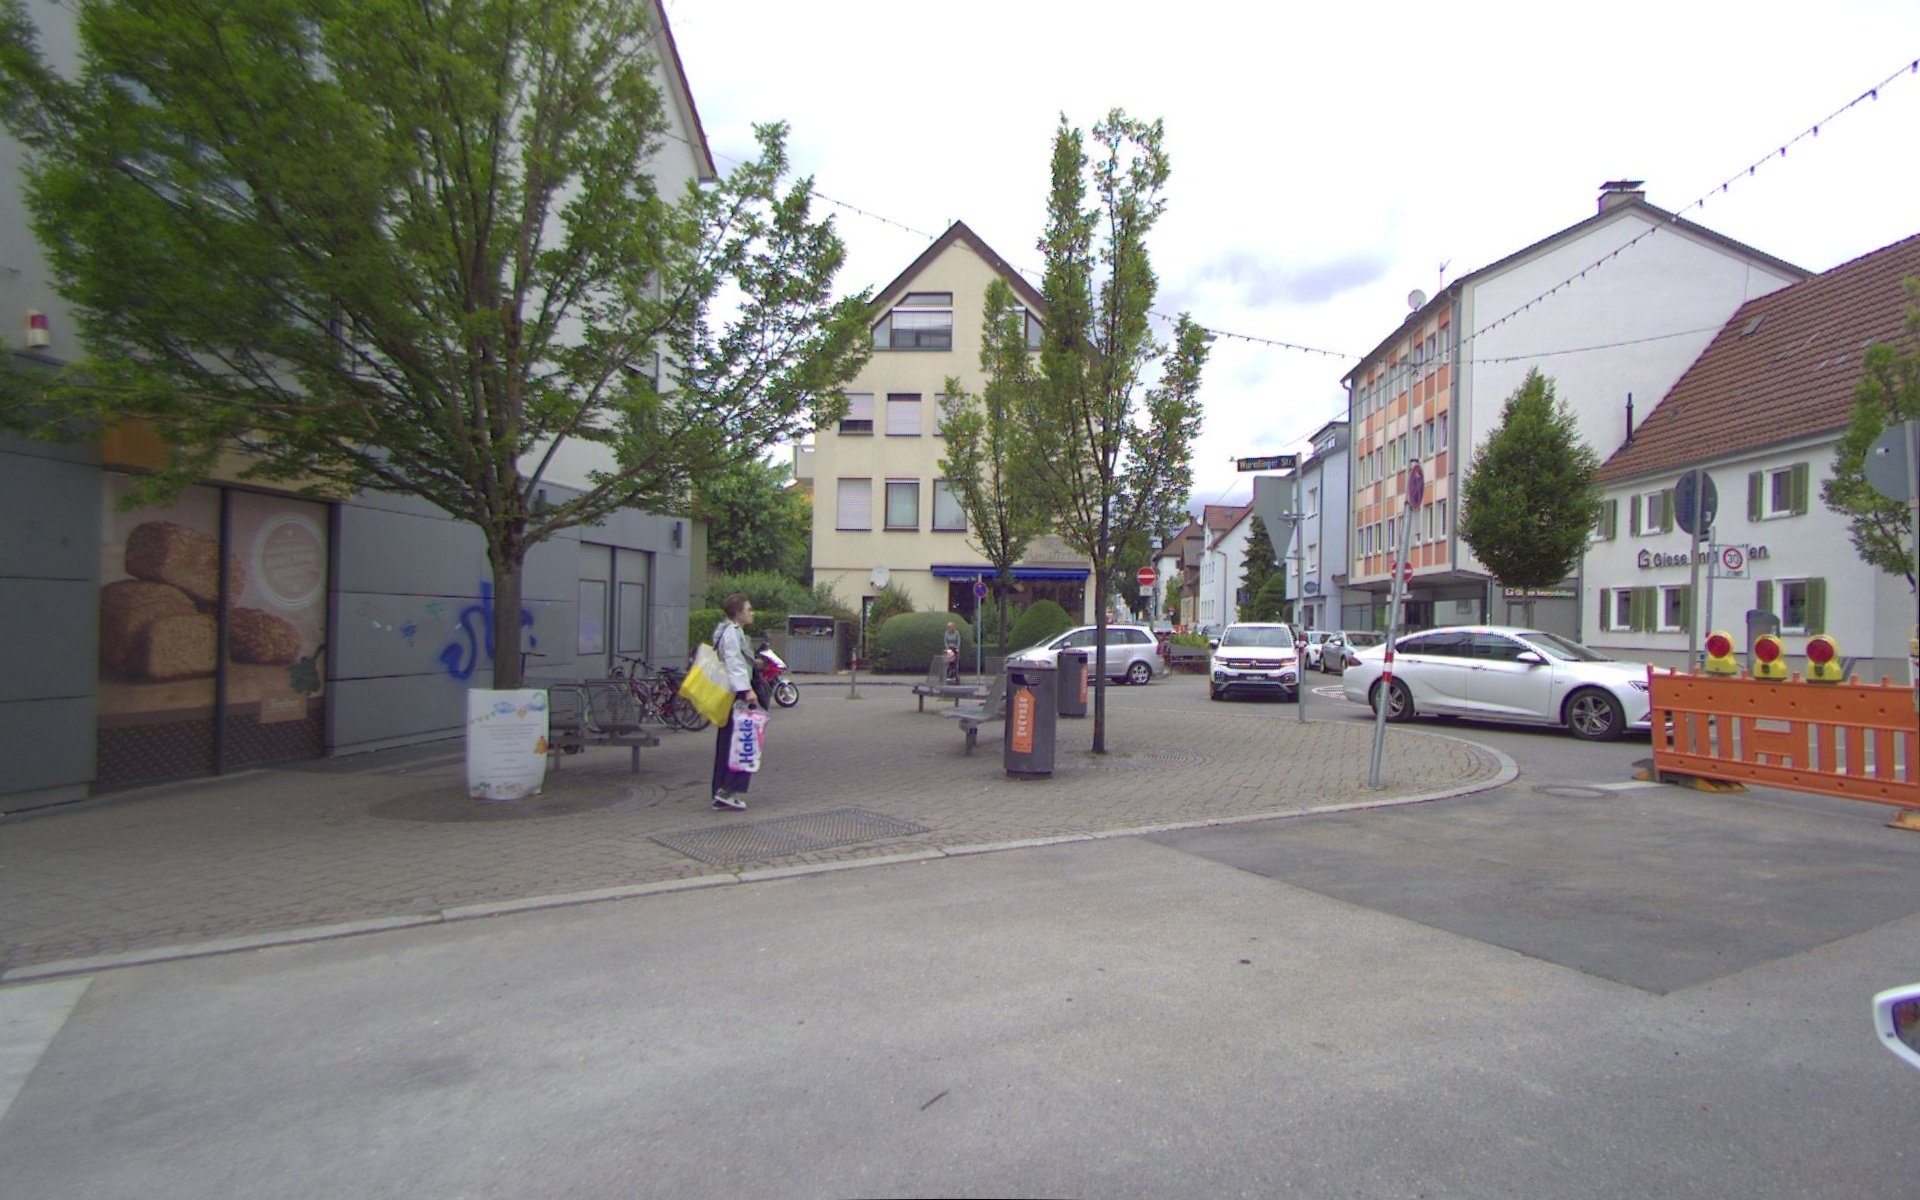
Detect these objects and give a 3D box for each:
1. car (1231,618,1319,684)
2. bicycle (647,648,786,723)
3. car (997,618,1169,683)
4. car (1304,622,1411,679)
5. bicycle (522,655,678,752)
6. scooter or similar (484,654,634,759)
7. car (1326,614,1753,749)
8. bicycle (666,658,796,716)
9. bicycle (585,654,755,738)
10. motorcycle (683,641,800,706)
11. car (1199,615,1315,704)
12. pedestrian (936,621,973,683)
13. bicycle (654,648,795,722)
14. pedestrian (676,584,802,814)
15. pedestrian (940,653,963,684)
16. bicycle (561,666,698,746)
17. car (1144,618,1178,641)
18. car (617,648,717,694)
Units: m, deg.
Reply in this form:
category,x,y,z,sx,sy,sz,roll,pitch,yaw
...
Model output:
category,x,y,z,sx,sy,sz,roll,pitch,yaw
car,9.039,1.364,28.563,1.982,1.578,4.917,1,0,22
bicycle,-3.740,1.305,15.495,1.921,1.088,0.812,-1,-1,8
car,3.272,1.345,27.142,4.248,1.661,1.997,0,-1,-9
car,12.891,1.594,32.949,1.980,1.578,4.921,1,0,6
bicycle,-4.442,1.270,12.416,1.710,1.060,0.532,-4,-2,6
scooter or similar,-4.636,1.216,11.657,1.501,1.138,0.598,0,-1,7
car,8.066,1.001,14.489,2.226,1.496,4.872,1,0,-34
bicycle,-3.901,1.474,17.181,2.033,0.877,0.629,-2,0,3
bicycle,-3.982,1.316,13.861,2.108,1.060,0.751,-2,-1,6
motorcycle,-3.964,1.326,18.323,1.916,1.119,0.803,0,-1,3
car,6.182,1.158,21.425,1.980,1.578,4.921,1,0,12
pedestrian,-0.159,1.449,28.271,0.755,1.691,0.954,0,-1,20
bicycle,-3.820,1.376,16.388,2.083,1.075,0.693,-2,0,3
pedestrian,-1.655,0.707,7.500,0.864,1.613,0.681,1,-1,-15
pedestrian,-0.235,1.875,27.576,0.563,0.810,0.454,0,-1,7
bicycle,-4.325,1.386,13.171,1.597,0.894,0.496,-5,-2,6
car,14.645,2.157,73.308,1.960,1.661,4.330,0,-1,4
car,-6.453,1.555,22.188,1.889,0.954,0.982,0,-1,1
